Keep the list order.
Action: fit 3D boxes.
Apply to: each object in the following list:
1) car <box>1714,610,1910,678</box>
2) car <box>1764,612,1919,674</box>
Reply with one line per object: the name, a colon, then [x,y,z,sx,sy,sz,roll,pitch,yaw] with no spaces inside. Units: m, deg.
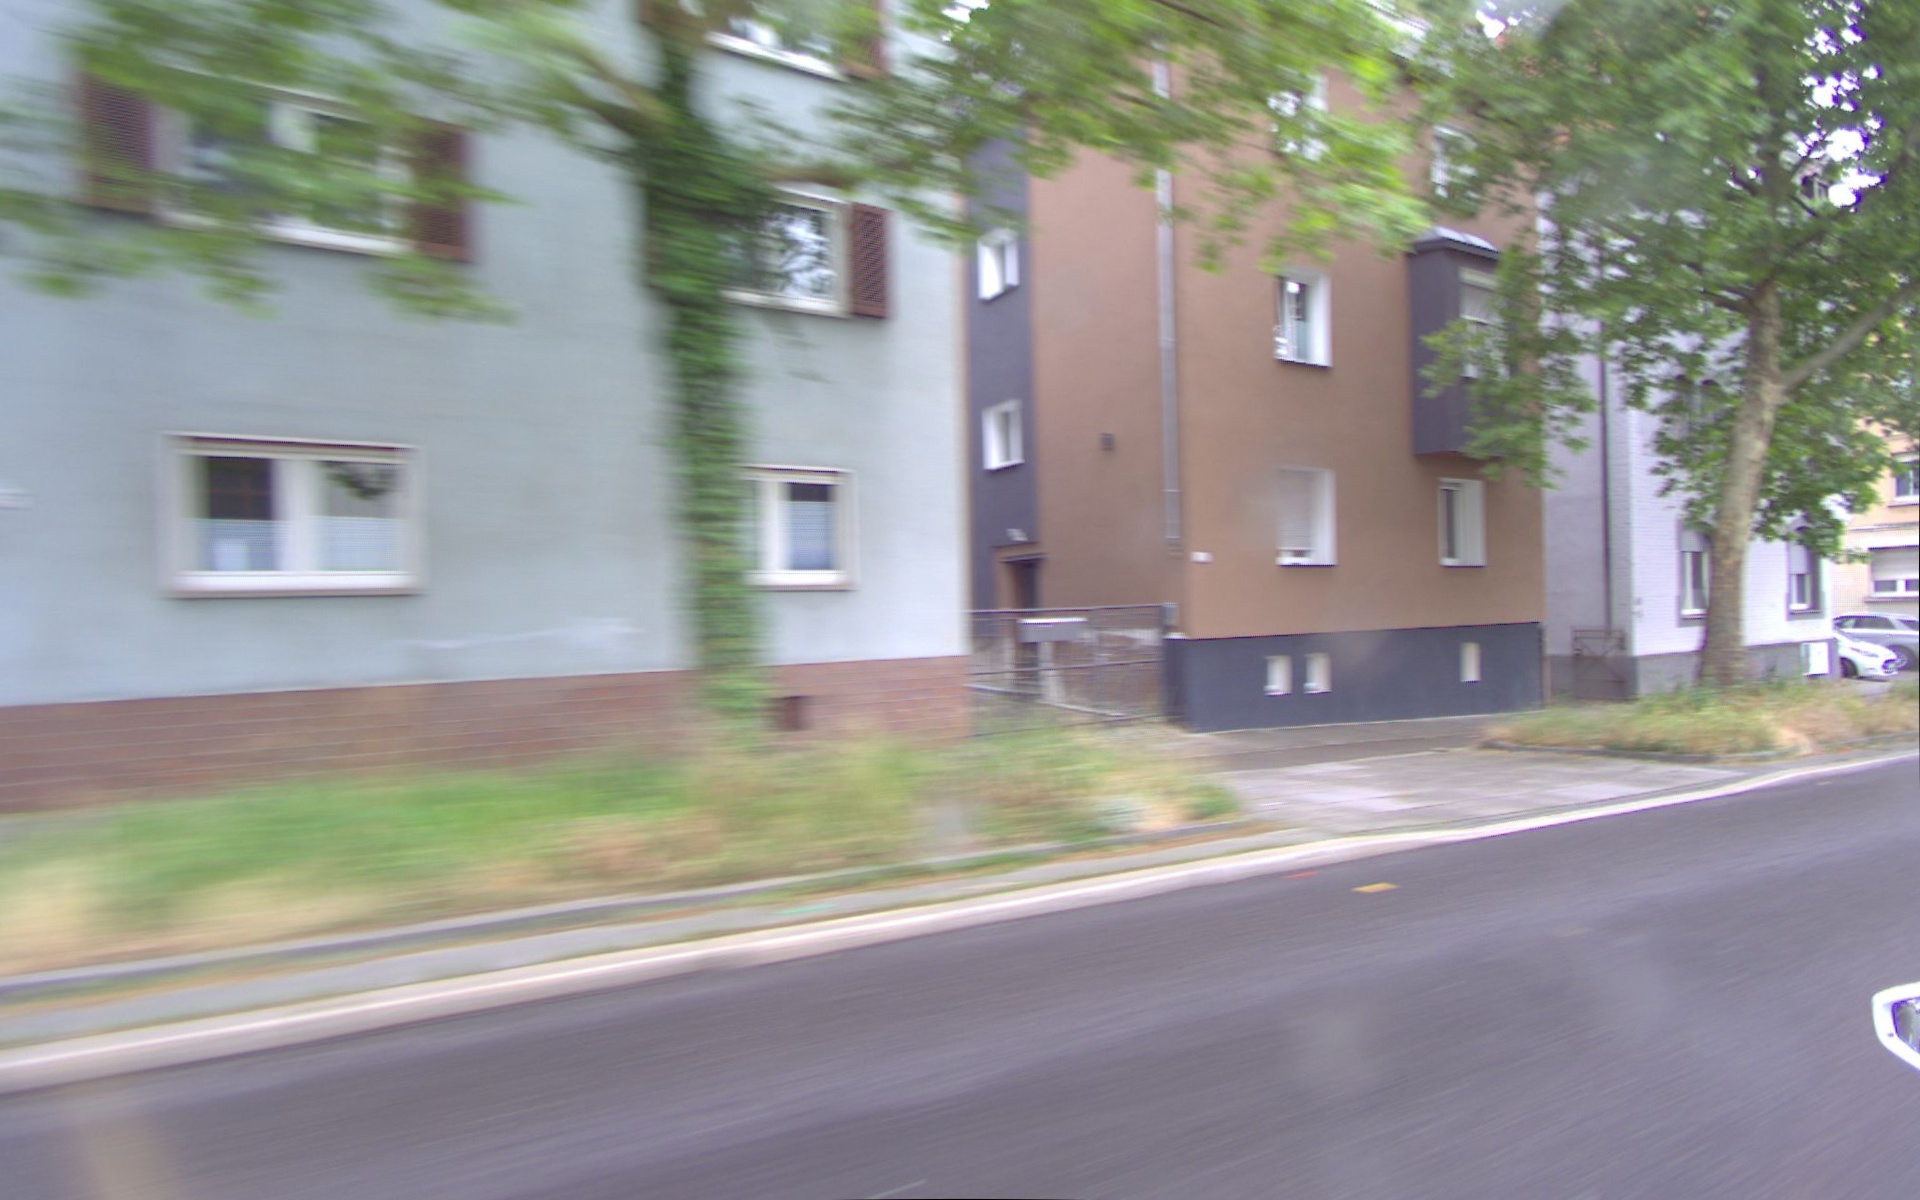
car: [25.799,1.288,30.567,1.977,1.917,4.176,1,-1,-30]
car: [29.700,1.379,33.465,1.977,1.917,4.176,1,-1,-30]
